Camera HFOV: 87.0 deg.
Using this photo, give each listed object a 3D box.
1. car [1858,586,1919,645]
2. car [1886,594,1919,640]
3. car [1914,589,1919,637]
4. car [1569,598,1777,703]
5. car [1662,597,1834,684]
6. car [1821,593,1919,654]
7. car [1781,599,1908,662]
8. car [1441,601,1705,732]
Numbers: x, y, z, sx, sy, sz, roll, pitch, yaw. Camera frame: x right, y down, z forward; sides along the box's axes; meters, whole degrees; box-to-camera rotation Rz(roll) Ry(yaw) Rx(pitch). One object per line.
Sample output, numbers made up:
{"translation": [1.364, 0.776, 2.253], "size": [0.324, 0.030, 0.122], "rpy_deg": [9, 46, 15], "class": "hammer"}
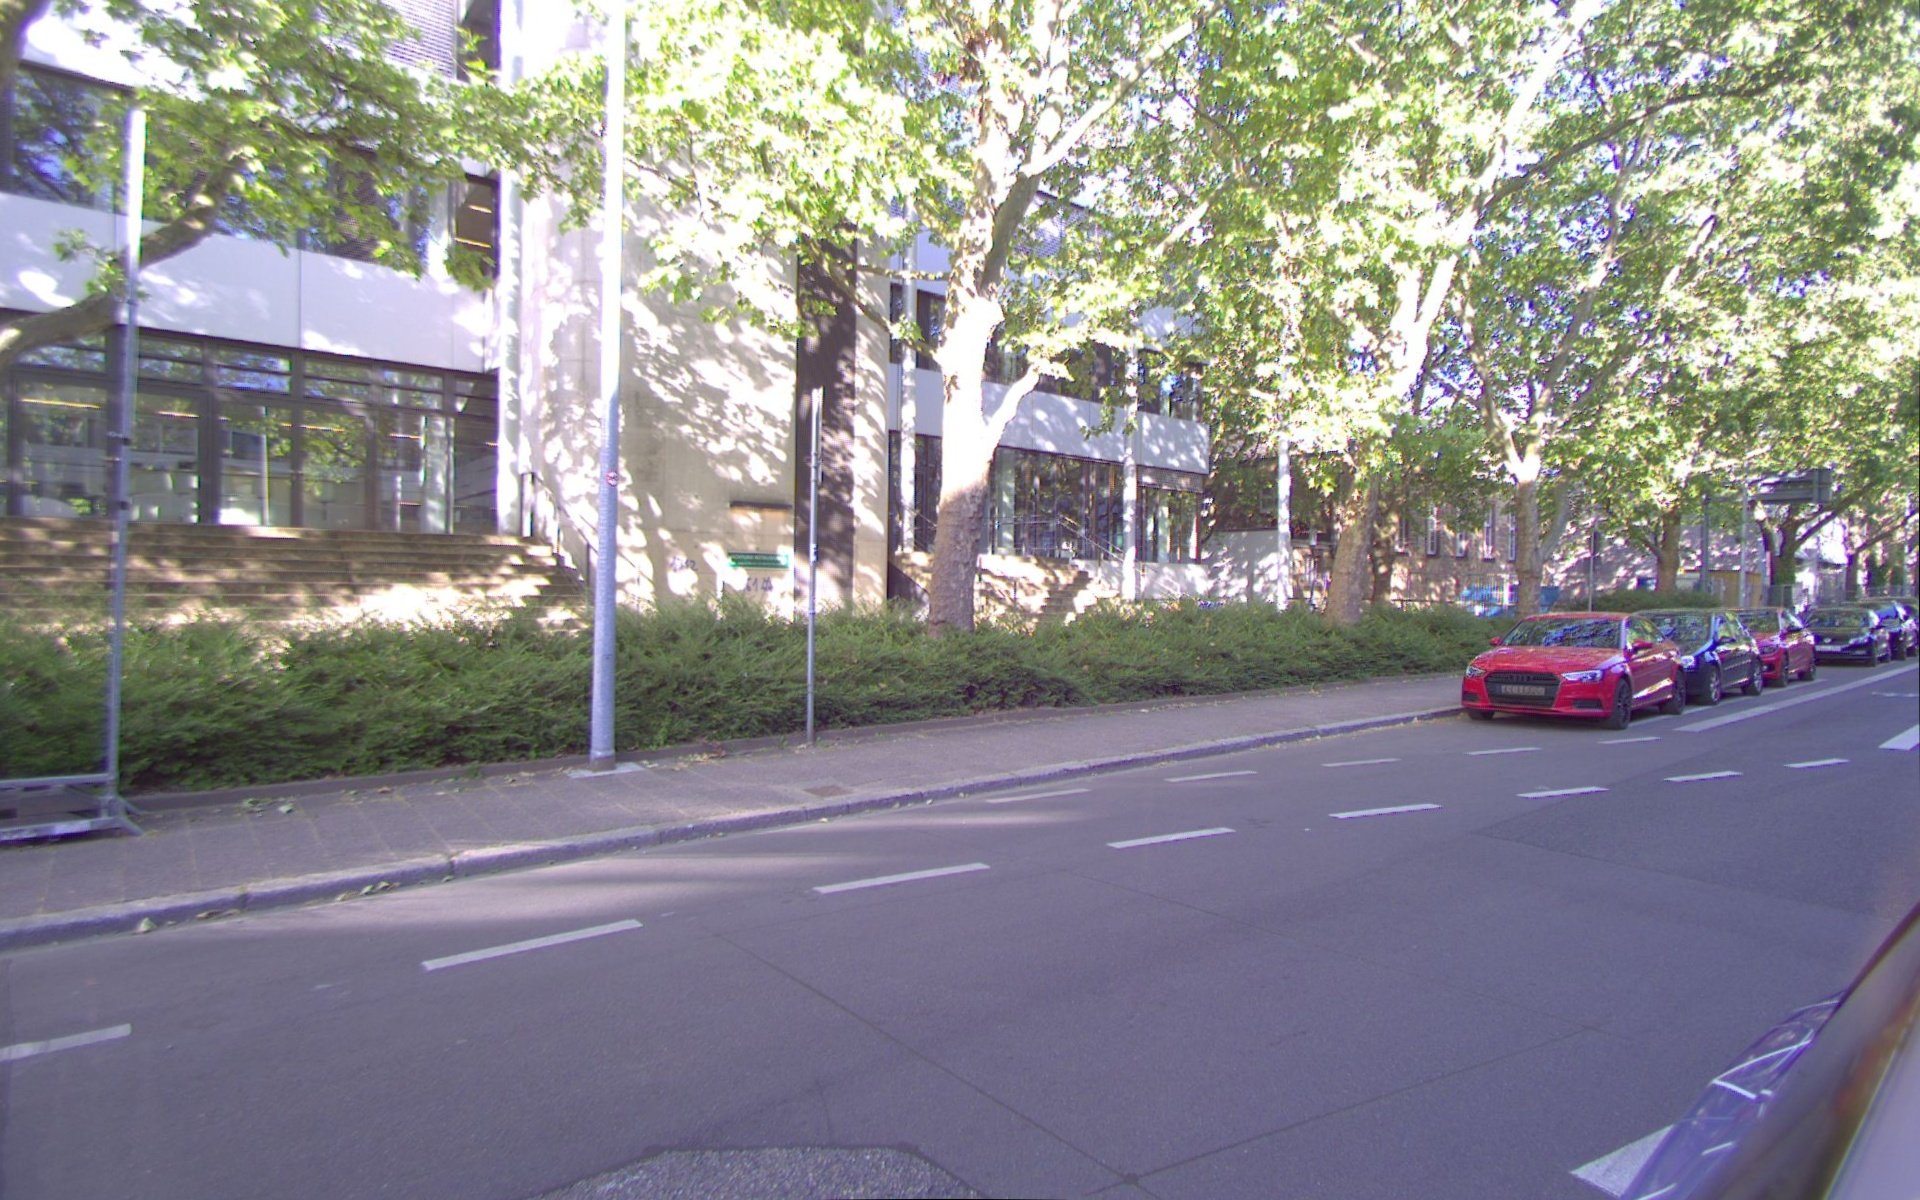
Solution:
{"translation": [31.261, 0.455, 33.302], "size": [4.493, 1.809, 1.997], "rpy_deg": [-1, 0, -41], "class": "car"}
{"translation": [35.923, 0.602, 37.433], "size": [4.070, 1.585, 1.997], "rpy_deg": [-1, 0, -41], "class": "car"}
{"translation": [39.640, 0.491, 40.329], "size": [3.930, 1.872, 1.997], "rpy_deg": [-1, 0, -41], "class": "car"}
{"translation": [11.746, 0.731, 16.615], "size": [3.581, 1.478, 1.997], "rpy_deg": [-1, 0, -41], "class": "car"}
{"translation": [15.641, 0.721, 20.041], "size": [3.762, 1.517, 1.997], "rpy_deg": [-1, 0, -41], "class": "car"}
{"translation": [26.519, 0.613, 29.170], "size": [4.070, 1.621, 1.997], "rpy_deg": [-1, 0, -41], "class": "car"}
{"translation": [22.797, 0.728, 26.052], "size": [3.527, 1.474, 1.997], "rpy_deg": [-1, 0, -41], "class": "car"}
{"translation": [8.255, 0.753, 13.514], "size": [3.930, 1.443, 1.906], "rpy_deg": [-1, 0, -41], "class": "car"}
